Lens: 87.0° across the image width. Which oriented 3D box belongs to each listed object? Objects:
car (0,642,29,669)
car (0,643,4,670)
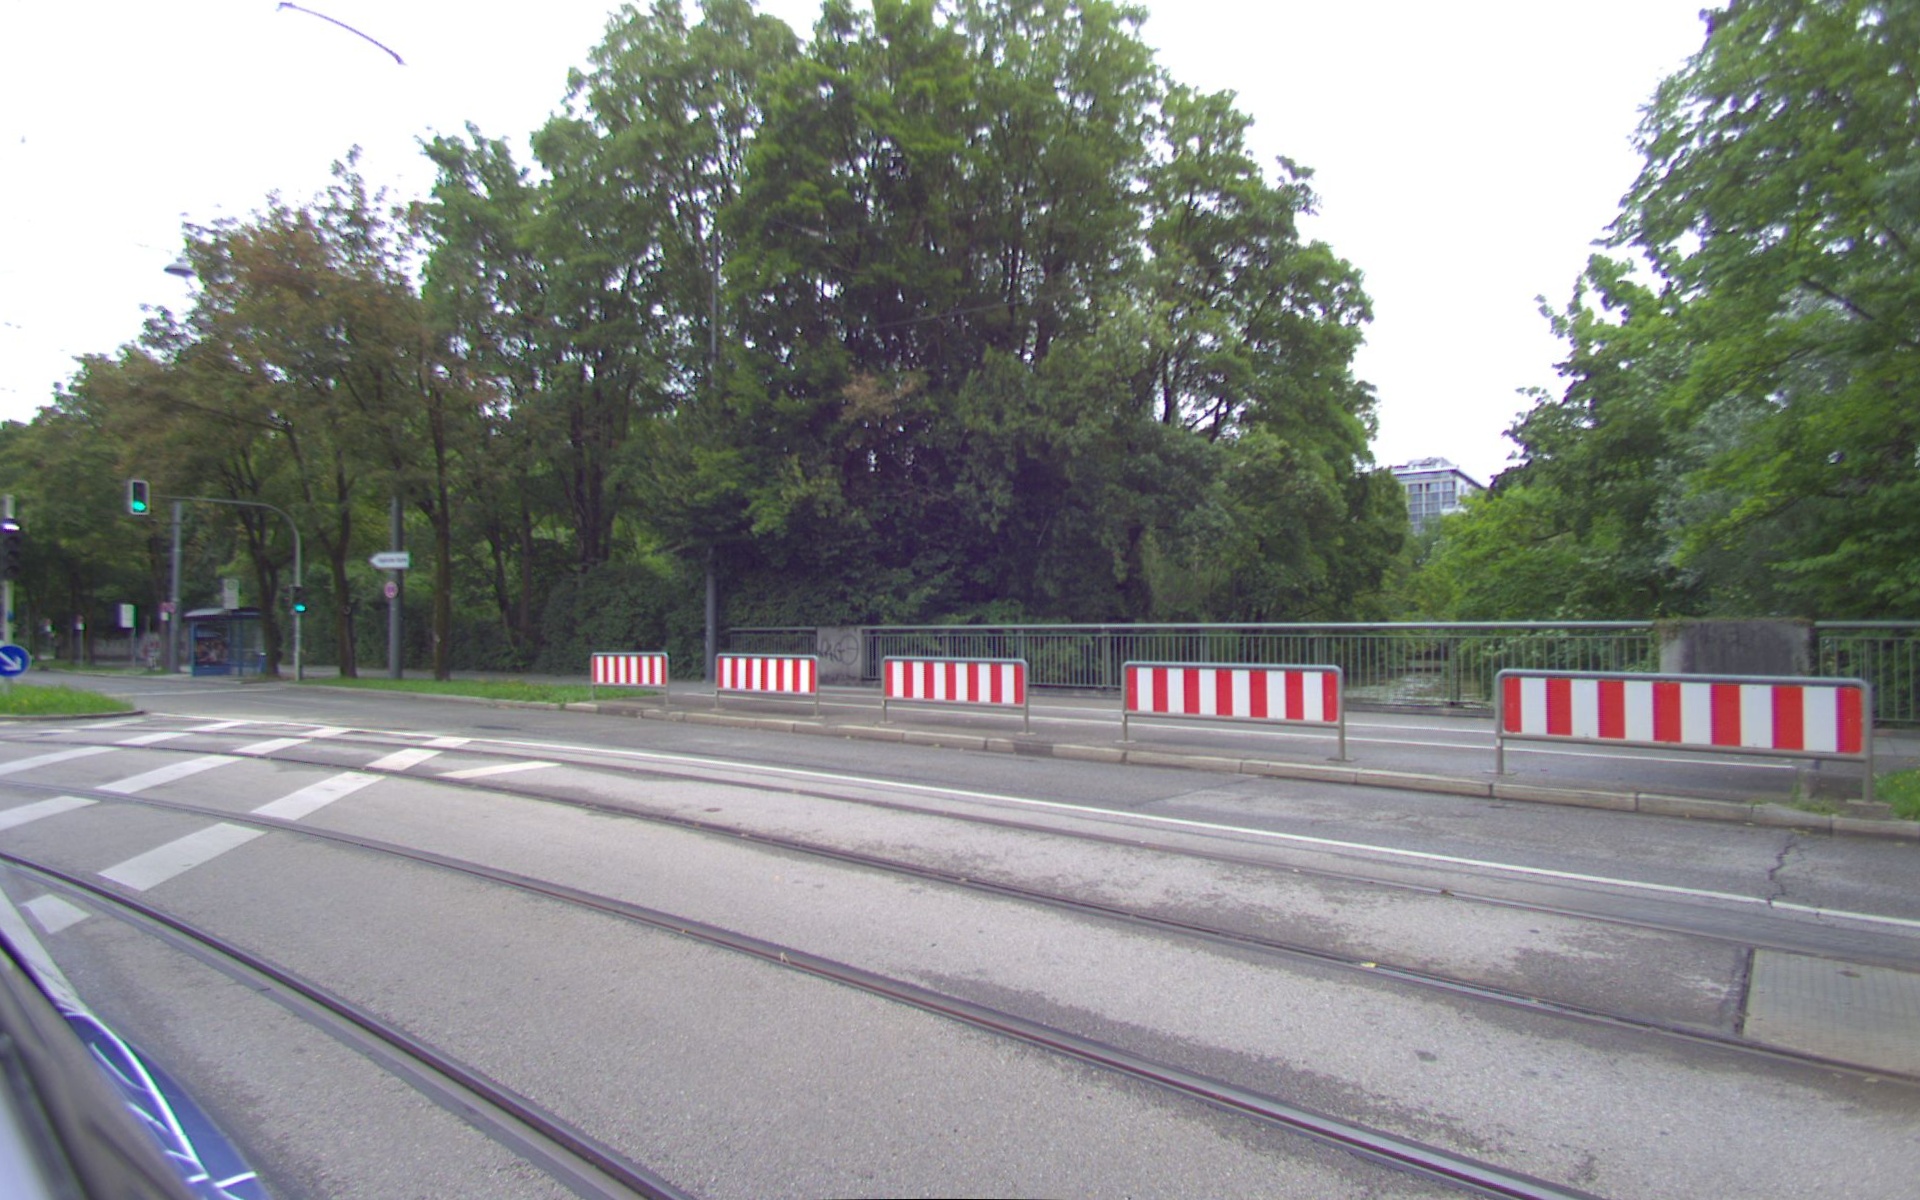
[{"bbox_3d":[-60.300,3.469,63.798,3.996,1.552,1.864,-1,0,40],"label":"car"},{"bbox_3d":[-64.732,3.725,66.840,3.996,1.739,1.864,-1,0,40],"label":"car"}]
